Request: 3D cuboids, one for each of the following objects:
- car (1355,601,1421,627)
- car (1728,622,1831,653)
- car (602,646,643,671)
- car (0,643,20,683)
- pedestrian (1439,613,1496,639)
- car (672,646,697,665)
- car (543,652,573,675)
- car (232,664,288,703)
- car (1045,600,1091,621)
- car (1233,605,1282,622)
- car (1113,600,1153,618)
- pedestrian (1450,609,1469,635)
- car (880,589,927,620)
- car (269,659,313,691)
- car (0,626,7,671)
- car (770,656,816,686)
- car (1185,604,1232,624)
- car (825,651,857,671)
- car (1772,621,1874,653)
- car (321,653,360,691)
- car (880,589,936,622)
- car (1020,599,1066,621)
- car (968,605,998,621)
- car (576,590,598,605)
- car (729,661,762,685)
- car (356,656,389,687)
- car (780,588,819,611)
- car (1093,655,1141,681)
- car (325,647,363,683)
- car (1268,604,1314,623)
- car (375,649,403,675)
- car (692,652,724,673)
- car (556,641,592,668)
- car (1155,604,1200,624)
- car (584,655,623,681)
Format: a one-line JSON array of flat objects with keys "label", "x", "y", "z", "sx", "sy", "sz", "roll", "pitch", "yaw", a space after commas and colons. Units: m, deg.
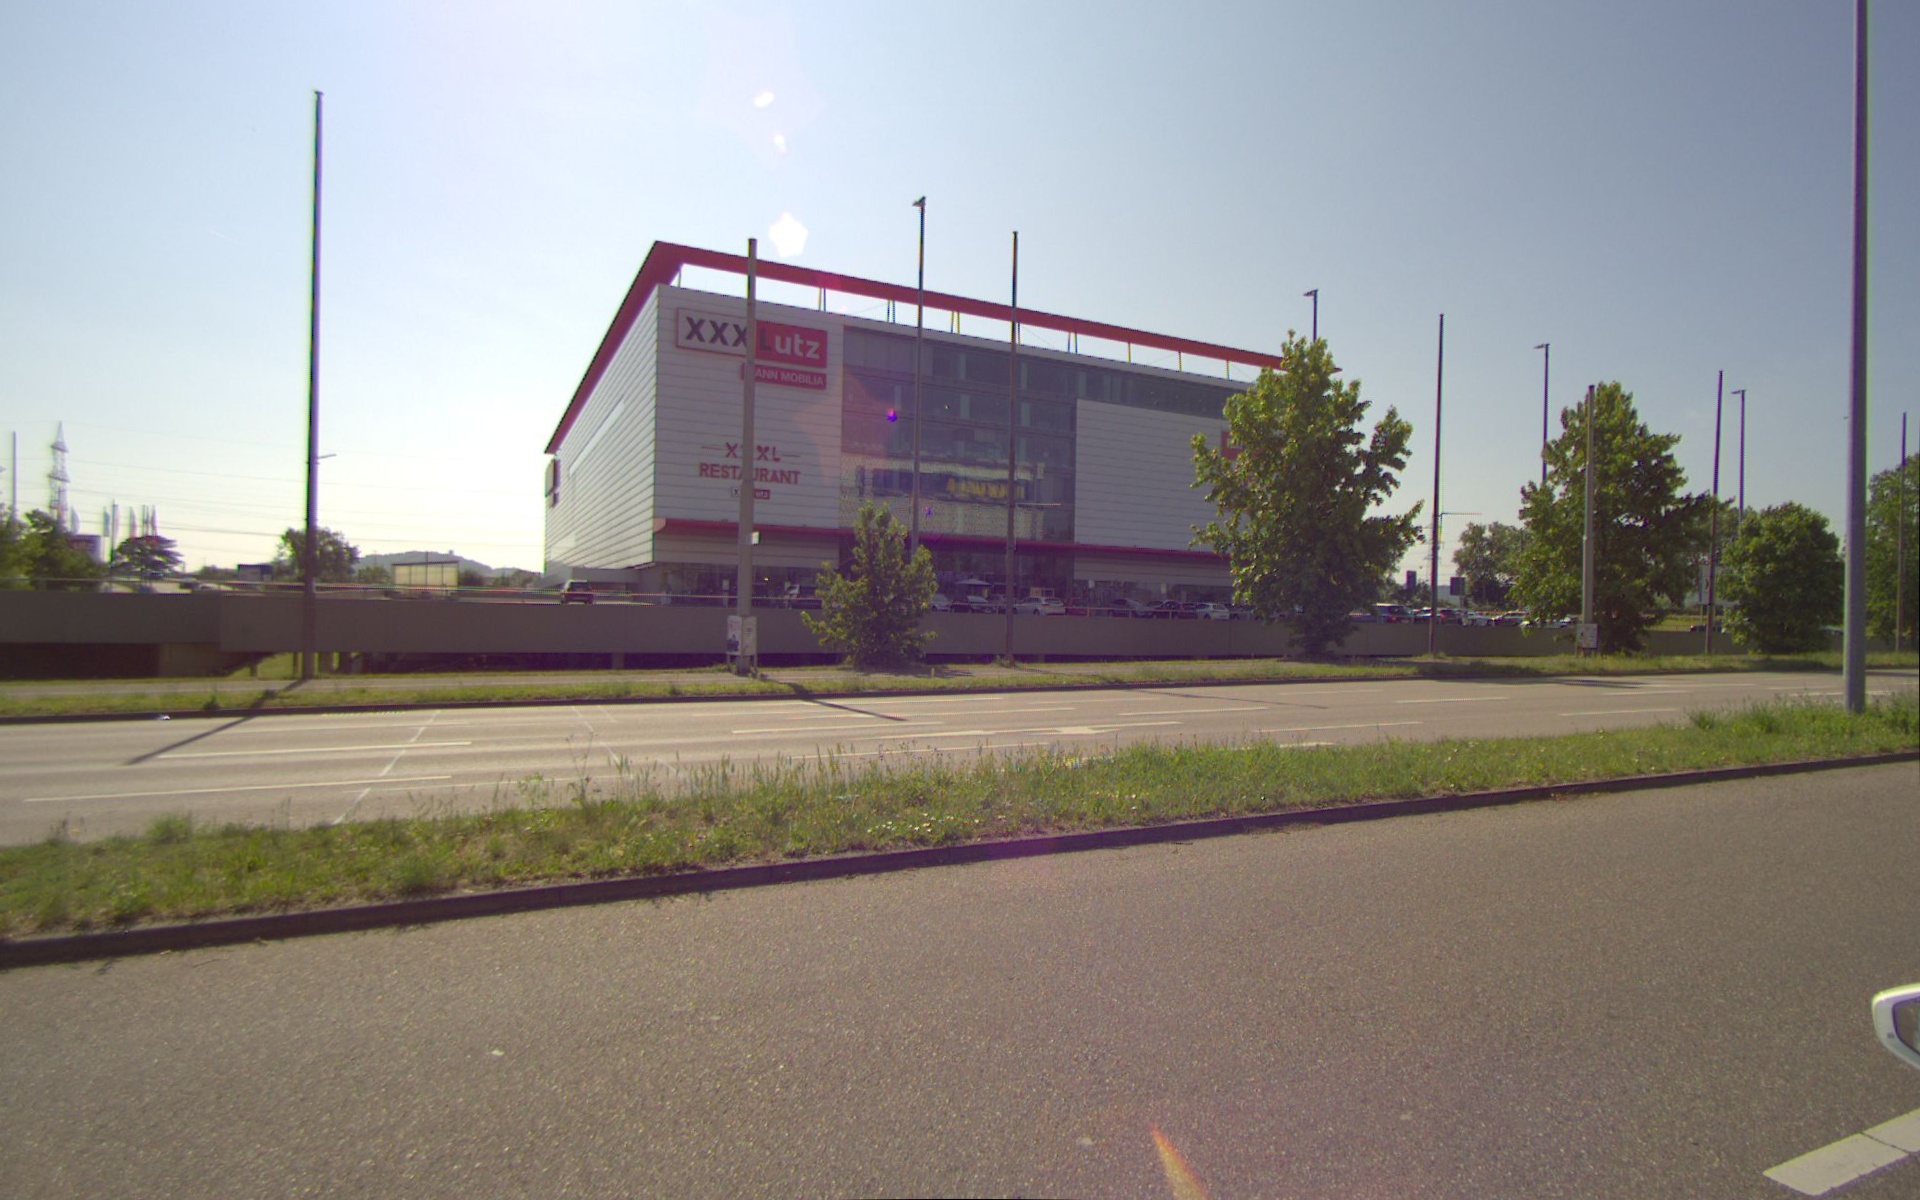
[{"label": "car", "x": 18.418, "y": 0.608, "z": 43.314, "sx": 1.058, "sy": 1.073, "sz": 2.501, "roll": 2, "pitch": -1, "yaw": -29}, {"label": "car", "x": 48.512, "y": 2.189, "z": 59.535, "sx": 1.849, "sy": 1.649, "sz": 4.393, "roll": 3, "pitch": -2, "yaw": -29}, {"label": "car", "x": -9.846, "y": 1.695, "z": 29.303, "sx": 0.848, "sy": 0.629, "sz": 1.552, "roll": 2, "pitch": -1, "yaw": -29}, {"label": "car", "x": -25.741, "y": 1.674, "z": 26.547, "sx": 0.879, "sy": 0.988, "sz": 1.928, "roll": 0, "pitch": 0, "yaw": -29}, {"label": "pedestrian", "x": 43.518, "y": 2.213, "z": 86.175, "sx": 3.920, "sy": 2.040, "sz": 2.001, "roll": 2, "pitch": -1, "yaw": 3}, {"label": "car", "x": -15.523, "y": 3.124, "z": 56.576, "sx": 0.949, "sy": 0.988, "sz": 1.928, "roll": 2, "pitch": -1, "yaw": -29}, {"label": "car", "x": -19.153, "y": 3.009, "z": 47.848, "sx": 1.058, "sy": 0.988, "sz": 1.928, "roll": 2, "pitch": -1, "yaw": -29}, {"label": "car", "x": -20.455, "y": 2.422, "z": 29.385, "sx": 1.057, "sy": 1.021, "sz": 1.930, "roll": 0, "pitch": -1, "yaw": -27}, {"label": "car", "x": 7.208, "y": 0.712, "z": 67.396, "sx": 1.497, "sy": 1.347, "sz": 3.201, "roll": 2, "pitch": -1, "yaw": -28}, {"label": "car", "x": 22.016, "y": 0.982, "z": 74.391, "sx": 1.462, "sy": 1.214, "sz": 3.485, "roll": 2, "pitch": -1, "yaw": -28}, {"label": "car", "x": 13.044, "y": 0.682, "z": 75.766, "sx": 1.285, "sy": 1.347, "sz": 3.122, "roll": 2, "pitch": -1, "yaw": -28}, {"label": "pedestrian", "x": 38.626, "y": 1.684, "z": 77.626, "sx": 1.004, "sy": 2.040, "sz": 0.862, "roll": 0, "pitch": -1, "yaw": -13}, {"label": "car", "x": -3.416, "y": 0.246, "z": 60.730, "sx": 1.671, "sy": 1.781, "sz": 3.075, "roll": 2, "pitch": -1, "yaw": -28}, {"label": "car", "x": -23.208, "y": 2.586, "z": 34.870, "sx": 1.058, "sy": 0.988, "sz": 1.929, "roll": 1, "pitch": -1, "yaw": -28}, {"label": "car", "x": -39.620, "y": 1.870, "z": 38.539, "sx": 3.947, "sy": 1.757, "sz": 1.987, "roll": 2, "pitch": -1, "yaw": -26}, {"label": "car", "x": -6.107, "y": 2.584, "z": 36.702, "sx": 1.058, "sy": 0.988, "sz": 1.928, "roll": 2, "pitch": -1, "yaw": -29}, {"label": "car", "x": 17.943, "y": 1.018, "z": 72.586, "sx": 1.683, "sy": 1.347, "sz": 3.075, "roll": 2, "pitch": -1, "yaw": -28}, {"label": "car", "x": -6.457, "y": 3.295, "z": 54.455, "sx": 1.058, "sy": 0.988, "sz": 1.928, "roll": 2, "pitch": -1, "yaw": -29}, {"label": "car", "x": 53.232, "y": 2.251, "z": 62.018, "sx": 1.921, "sy": 1.867, "sz": 4.396, "roll": 1, "pitch": -1, "yaw": -27}, {"label": "car", "x": -16.087, "y": 1.862, "z": 26.112, "sx": 0.783, "sy": 0.894, "sz": 1.494, "roll": 2, "pitch": -1, "yaw": -29}, {"label": "car", "x": -2.580, "y": 0.292, "z": 49.128, "sx": 1.752, "sy": 1.577, "sz": 2.756, "roll": 0, "pitch": -1, "yaw": -28}, {"label": "car", "x": 5.389, "y": 0.665, "z": 65.263, "sx": 1.497, "sy": 1.347, "sz": 3.201, "roll": 2, "pitch": -1, "yaw": -28}, {"label": "car", "x": 1.414, "y": 0.786, "z": 62.779, "sx": 1.058, "sy": 0.988, "sz": 1.928, "roll": 1, "pitch": -1, "yaw": -29}, {"label": "car", "x": -24.835, "y": -0.165, "z": 66.844, "sx": 1.058, "sy": 0.988, "sz": 1.928, "roll": 2, "pitch": -1, "yaw": -29}, {"label": "car", "x": -9.411, "y": 3.194, "z": 44.038, "sx": 0.900, "sy": 0.988, "sz": 1.928, "roll": 2, "pitch": -2, "yaw": -29}, {"label": "car", "x": -21.026, "y": 2.555, "z": 35.971, "sx": 0.876, "sy": 0.988, "sz": 1.930, "roll": 2, "pitch": -1, "yaw": -26}, {"label": "car", "x": -10.160, "y": -0.018, "z": 63.505, "sx": 1.497, "sy": 1.347, "sz": 2.999, "roll": 2, "pitch": -1, "yaw": -28}, {"label": "car", "x": 6.749, "y": 2.919, "z": 43.354, "sx": 1.058, "sy": 0.988, "sz": 1.928, "roll": 2, "pitch": -1, "yaw": -29}, {"label": "car", "x": -18.570, "y": 1.939, "z": 30.311, "sx": 0.856, "sy": 0.988, "sz": 1.834, "roll": 2, "pitch": -1, "yaw": -29}, {"label": "car", "x": 25.017, "y": 1.019, "z": 75.998, "sx": 1.497, "sy": 1.347, "sz": 3.075, "roll": 2, "pitch": -1, "yaw": -28}, {"label": "car", "x": -25.338, "y": 2.753, "z": 44.573, "sx": 1.058, "sy": 1.053, "sz": 1.928, "roll": 1, "pitch": -1, "yaw": -29}, {"label": "car", "x": -12.817, "y": 3.169, "z": 51.068, "sx": 1.058, "sy": 0.988, "sz": 1.928, "roll": 2, "pitch": -1, "yaw": -29}, {"label": "car", "x": -15.607, "y": 2.195, "z": 40.601, "sx": 1.058, "sy": 0.988, "sz": 1.928, "roll": 2, "pitch": -1, "yaw": -29}, {"label": "car", "x": 15.476, "y": 0.962, "z": 71.604, "sx": 1.497, "sy": 1.347, "sz": 3.075, "roll": 2, "pitch": -1, "yaw": -28}, {"label": "car", "x": -11.983, "y": 2.273, "z": 33.744, "sx": 0.896, "sy": 0.743, "sz": 2.071, "roll": 2, "pitch": -1, "yaw": -29}]
